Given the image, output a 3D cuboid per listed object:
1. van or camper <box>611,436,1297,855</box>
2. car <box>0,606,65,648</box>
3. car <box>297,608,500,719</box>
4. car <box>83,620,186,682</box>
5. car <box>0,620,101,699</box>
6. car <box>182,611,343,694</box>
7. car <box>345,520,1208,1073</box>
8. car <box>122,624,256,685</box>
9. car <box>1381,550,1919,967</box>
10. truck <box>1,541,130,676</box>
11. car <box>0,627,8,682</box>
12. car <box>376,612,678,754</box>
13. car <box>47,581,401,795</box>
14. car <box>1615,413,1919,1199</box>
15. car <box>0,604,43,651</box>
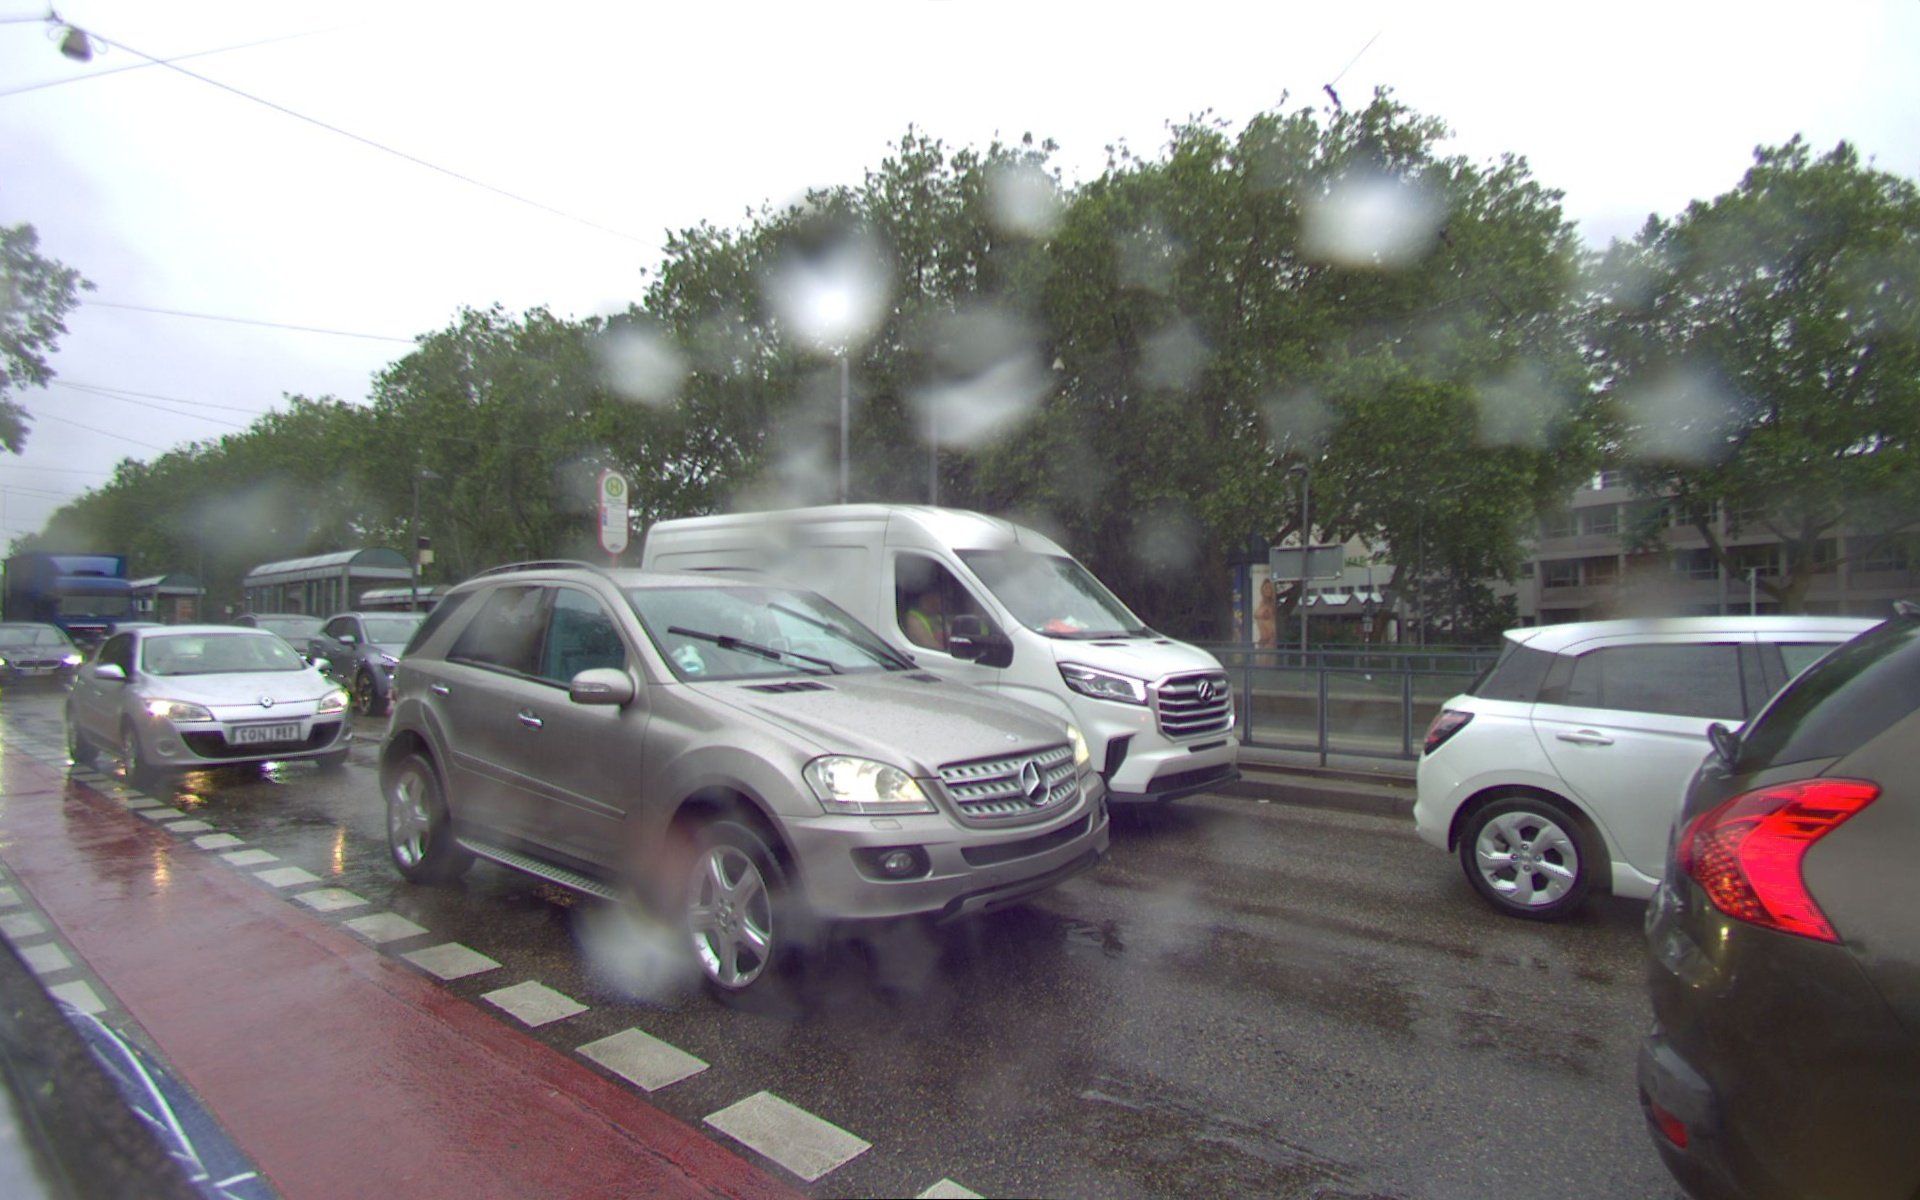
[{"bbox_3d":[-0.438,0.375,8.771,5.965,2.490,2.153,-2,-2,40],"label":"van or camper"},{"bbox_3d":[-40.673,1.158,44.132,3.998,1.728,1.973,-1,0,41],"label":"car"},{"bbox_3d":[-9.611,1.028,17.173,4.247,1.647,1.823,-3,-2,43],"label":"car"},{"bbox_3d":[-24.413,1.485,29.889,4.191,1.659,1.887,-3,-2,44],"label":"car"},{"bbox_3d":[-20.491,1.279,22.282,4.667,1.561,1.887,-3,-2,43],"label":"car"},{"bbox_3d":[-15.385,1.131,22.255,4.187,1.659,1.889,-3,-2,40],"label":"car"},{"bbox_3d":[-1.300,0.675,5.293,4.676,1.659,1.889,-3,-2,40],"label":"car"},{"bbox_3d":[-19.814,1.374,25.958,4.187,1.418,1.889,-3,-2,40],"label":"car"},{"bbox_3d":[4.302,0.622,4.538,4.074,1.599,1.782,-3,-3,43],"label":"car"},{"bbox_3d":[-31.789,0.426,35.850,8.349,4.309,2.386,-3,-2,41],"label":"truck"},{"bbox_3d":[-31.271,1.743,31.692,4.191,1.659,1.887,-3,-2,43],"label":"car"},{"bbox_3d":[-5.709,0.985,13.055,4.553,1.525,1.763,-3,-2,41],"label":"car"},{"bbox_3d":[-7.684,0.801,10.425,4.263,1.755,1.951,-3,-2,39],"label":"car"},{"bbox_3d":[3.397,0.501,1.144,4.190,1.722,1.782,-3,-2,42],"label":"car"},{"bbox_3d":[-46.387,1.318,49.125,5.453,2.166,2.313,-1,0,43],"label":"car"}]
